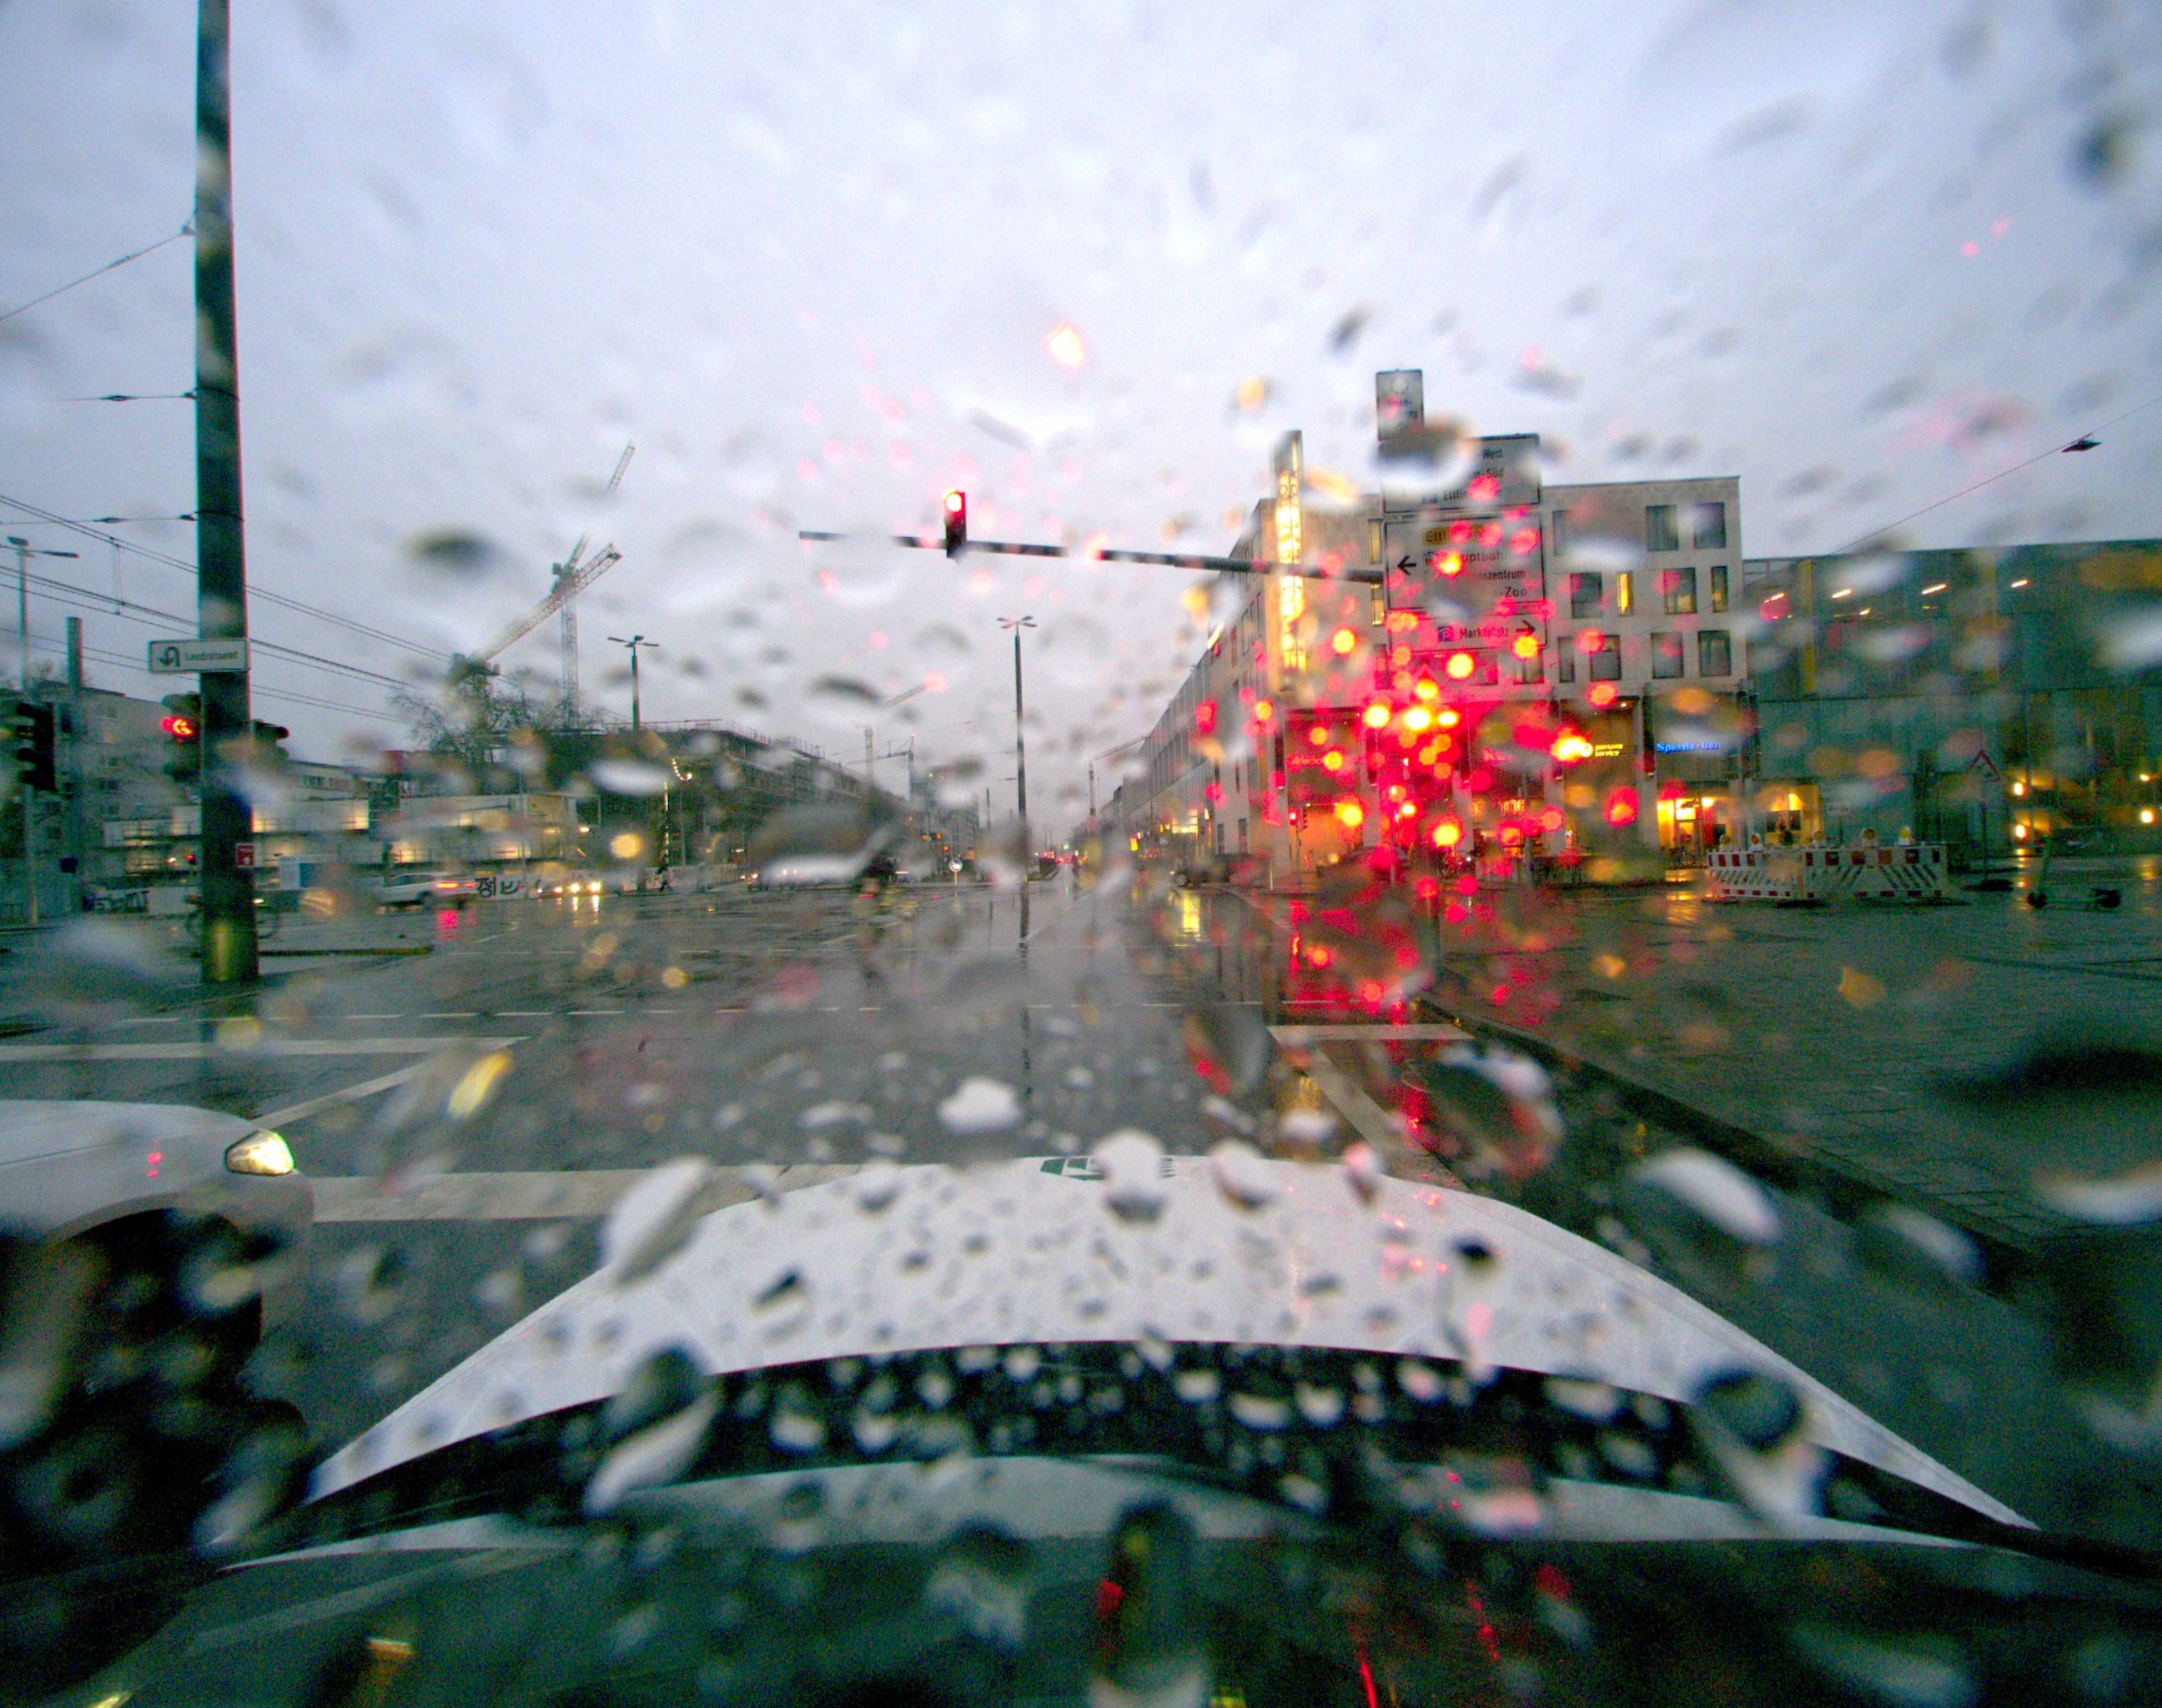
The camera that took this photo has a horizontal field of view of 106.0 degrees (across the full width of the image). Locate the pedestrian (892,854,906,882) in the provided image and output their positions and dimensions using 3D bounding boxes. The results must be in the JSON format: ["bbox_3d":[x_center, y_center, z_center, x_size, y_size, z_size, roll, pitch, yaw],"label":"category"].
[{"bbox_3d":[-11.005,0.833,49.102,0.744,1.607,0.808,-2,-1,-15],"label":"pedestrian"}]

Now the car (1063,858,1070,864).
[{"bbox_3d":[-4.118,1.970,237.467,1.881,1.783,3.715,-1,-1,2],"label":"car"}]

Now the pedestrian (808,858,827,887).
[{"bbox_3d":[-15.166,1.050,46.905,0.700,1.619,0.684,-2,-1,25],"label":"pedestrian"}]

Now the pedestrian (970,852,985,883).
[{"bbox_3d":[-6.101,0.775,47.894,0.700,1.760,0.652,-2,-1,1],"label":"pedestrian"}]

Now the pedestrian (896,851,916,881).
[{"bbox_3d":[-9.964,0.680,46.380,0.824,1.679,0.622,-2,-1,20],"label":"pedestrian"}]

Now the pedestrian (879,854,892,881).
[{"bbox_3d":[-11.871,0.828,49.333,0.614,1.619,0.703,-2,-1,-23],"label":"pedestrian"}]

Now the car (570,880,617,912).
[{"bbox_3d":[-33.676,2.850,56.365,1.760,2.013,3.977,-2,0,-17],"label":"car"}]

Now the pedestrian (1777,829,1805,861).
[{"bbox_3d":[36.059,-0.459,41.373,0.791,1.631,0.709,-1,-1,1],"label":"pedestrian"}]

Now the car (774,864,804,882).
[{"bbox_3d":[-35.603,2.287,99.458,1.986,2.013,4.002,-2,0,2],"label":"car"}]

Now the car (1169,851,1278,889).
[{"bbox_3d":[6.519,0.717,37.301,4.494,1.574,1.807,-2,0,26],"label":"car"}]

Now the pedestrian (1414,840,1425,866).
[{"bbox_3d":[22.650,-0.089,54.462,0.530,1.718,0.505,-3,-1,39],"label":"pedestrian"}]

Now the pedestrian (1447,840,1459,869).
[{"bbox_3d":[22.873,0.004,50.041,0.510,1.760,0.374,-2,-1,1],"label":"pedestrian"}]

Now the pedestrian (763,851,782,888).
[{"bbox_3d":[-17.165,0.884,45.259,0.781,2.013,0.606,-2,-1,-37],"label":"pedestrian"}]

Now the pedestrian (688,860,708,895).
[{"bbox_3d":[-22.298,1.344,47.438,0.792,2.013,0.745,-2,-1,-9],"label":"pedestrian"}]

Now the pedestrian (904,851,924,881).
[{"bbox_3d":[-9.631,0.680,46.969,0.835,1.688,0.681,-2,-1,22],"label":"pedestrian"}]

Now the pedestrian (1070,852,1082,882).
[{"bbox_3d":[-0.305,0.755,47.759,0.631,1.772,0.484,-2,-1,0],"label":"pedestrian"}]

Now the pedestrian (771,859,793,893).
[{"bbox_3d":[-14.133,1.030,38.468,0.812,1.570,0.536,-2,-1,-2],"label":"pedestrian"}]

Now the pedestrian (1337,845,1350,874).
[{"bbox_3d":[16.088,0.336,49.920,0.530,1.718,0.505,-3,-1,39],"label":"pedestrian"}]

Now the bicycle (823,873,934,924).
[{"bbox_3d":[-4.632,1.013,18.741,2.369,1.033,0.616,-2,-1,-6],"label":"bicycle"}]

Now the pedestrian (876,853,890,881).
[{"bbox_3d":[-12.679,0.828,52.143,0.613,1.746,0.616,-2,-1,23],"label":"pedestrian"}]

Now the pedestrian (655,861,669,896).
[{"bbox_3d":[-24.296,1.427,47.253,0.507,2.014,0.638,-2,-1,-9],"label":"pedestrian"}]

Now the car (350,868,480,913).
[{"bbox_3d":[-29.053,1.576,35.601,4.286,1.761,1.708,-2,0,2],"label":"car"}]

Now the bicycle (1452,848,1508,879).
[{"bbox_3d":[15.390,0.363,31.434,1.831,1.093,0.620,-2,-1,16],"label":"bicycle"}]

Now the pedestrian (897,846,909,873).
[{"bbox_3d":[-11.678,0.370,53.508,0.617,1.746,0.612,-2,-1,-4],"label":"pedestrian"}]

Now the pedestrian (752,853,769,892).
[{"bbox_3d":[-17.447,0.997,44.325,0.691,2.087,0.606,-2,-1,-39],"label":"pedestrian"}]

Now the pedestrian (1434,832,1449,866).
[{"bbox_3d":[18.297,-0.270,41.310,0.530,1.685,0.552,-3,-1,39],"label":"pedestrian"}]

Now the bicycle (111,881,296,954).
[{"bbox_3d":[-18.747,1.335,17.452,2.829,1.362,0.719,-3,-1,-8],"label":"bicycle"}]

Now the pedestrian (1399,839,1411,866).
[{"bbox_3d":[20.882,-0.092,52.523,0.530,1.718,0.505,-3,-1,39],"label":"pedestrian"}]

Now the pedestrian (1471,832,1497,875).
[{"bbox_3d":[15.524,-0.009,31.373,0.775,1.595,0.616,-2,-1,17],"label":"pedestrian"}]

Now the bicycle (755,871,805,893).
[{"bbox_3d":[-14.186,1.334,38.424,2.123,0.992,0.541,0,-4,-3],"label":"bicycle"}]

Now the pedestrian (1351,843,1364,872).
[{"bbox_3d":[17.042,0.223,50.139,0.530,1.718,0.505,-3,-1,39],"label":"pedestrian"}]

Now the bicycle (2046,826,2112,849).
[{"bbox_3d":[48.590,-0.797,39.679,0.613,1.033,2.138,-2,0,3],"label":"bicycle"}]

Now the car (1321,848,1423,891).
[{"bbox_3d":[11.926,0.616,33.547,3.558,1.582,1.676,-2,-1,-1],"label":"car"}]

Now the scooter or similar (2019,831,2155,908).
[{"bbox_3d":[15.878,0.237,12.891,0.603,1.130,1.236,-2,0,2],"label":"scooter or similar"}]

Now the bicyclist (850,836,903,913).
[{"bbox_3d":[-4.704,0.464,18.750,1.031,1.697,0.616,-2,-1,-5],"label":"bicyclist"}]

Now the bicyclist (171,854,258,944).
[{"bbox_3d":[-18.553,0.947,17.458,0.993,1.839,0.719,-3,-1,-8],"label":"bicyclist"}]

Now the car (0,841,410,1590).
[{"bbox_3d":[-3.187,0.762,0.186,1.903,1.520,4.923,-2,0,0],"label":"car"}]

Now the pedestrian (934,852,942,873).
[{"bbox_3d":[-12.472,0.742,70.945,0.660,1.746,0.619,-2,-1,-9],"label":"pedestrian"}]
